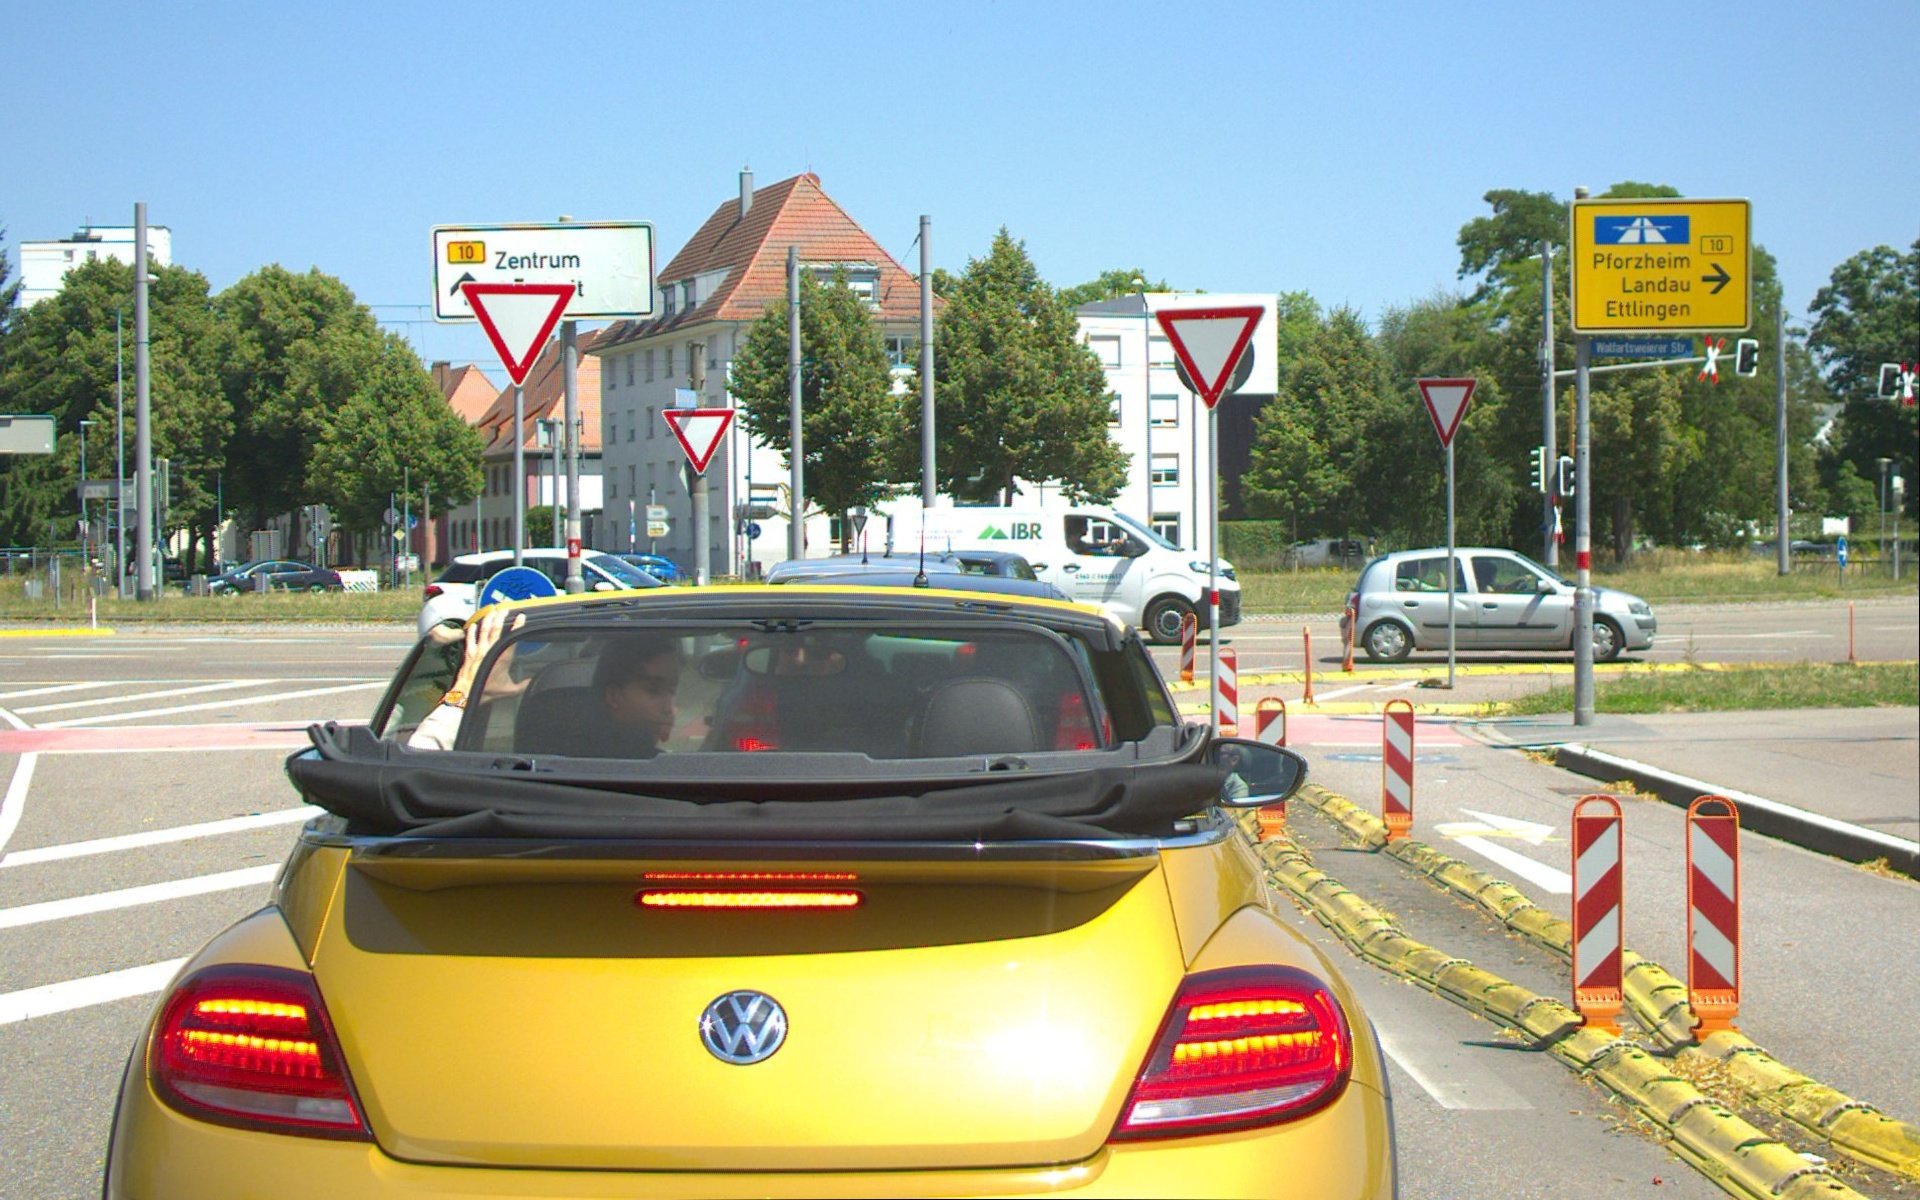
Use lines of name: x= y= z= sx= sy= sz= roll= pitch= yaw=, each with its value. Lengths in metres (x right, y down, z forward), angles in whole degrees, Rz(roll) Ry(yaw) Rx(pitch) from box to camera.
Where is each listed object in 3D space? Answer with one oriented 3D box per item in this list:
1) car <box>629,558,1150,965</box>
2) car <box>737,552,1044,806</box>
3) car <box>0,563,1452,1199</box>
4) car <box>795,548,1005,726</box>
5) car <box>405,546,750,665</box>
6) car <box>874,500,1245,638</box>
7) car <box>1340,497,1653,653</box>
car: x=-0.273 y=0.552 z=14.223 sx=1.848 sy=1.437 sz=4.000 roll=0 pitch=1 yaw=-1
car: x=-0.416 y=0.421 z=21.491 sx=1.736 sy=1.437 sz=4.000 roll=0 pitch=1 yaw=-1
car: x=-0.334 y=0.652 z=5.899 sx=1.752 sy=1.417 sz=3.778 roll=0 pitch=1 yaw=-1
car: x=-0.520 y=0.280 z=30.477 sx=1.736 sy=1.472 sz=4.000 roll=0 pitch=1 yaw=-1
car: x=-4.757 y=0.057 z=42.985 sx=4.009 sy=1.439 sz=1.632 roll=0 pitch=1 yaw=8
car: x=1.409 y=-0.436 z=47.262 sx=4.971 sy=1.843 sz=2.000 roll=0 pitch=1 yaw=5
car: x=6.475 y=-0.314 z=41.627 sx=3.667 sy=1.843 sz=1.632 roll=0 pitch=1 yaw=8
